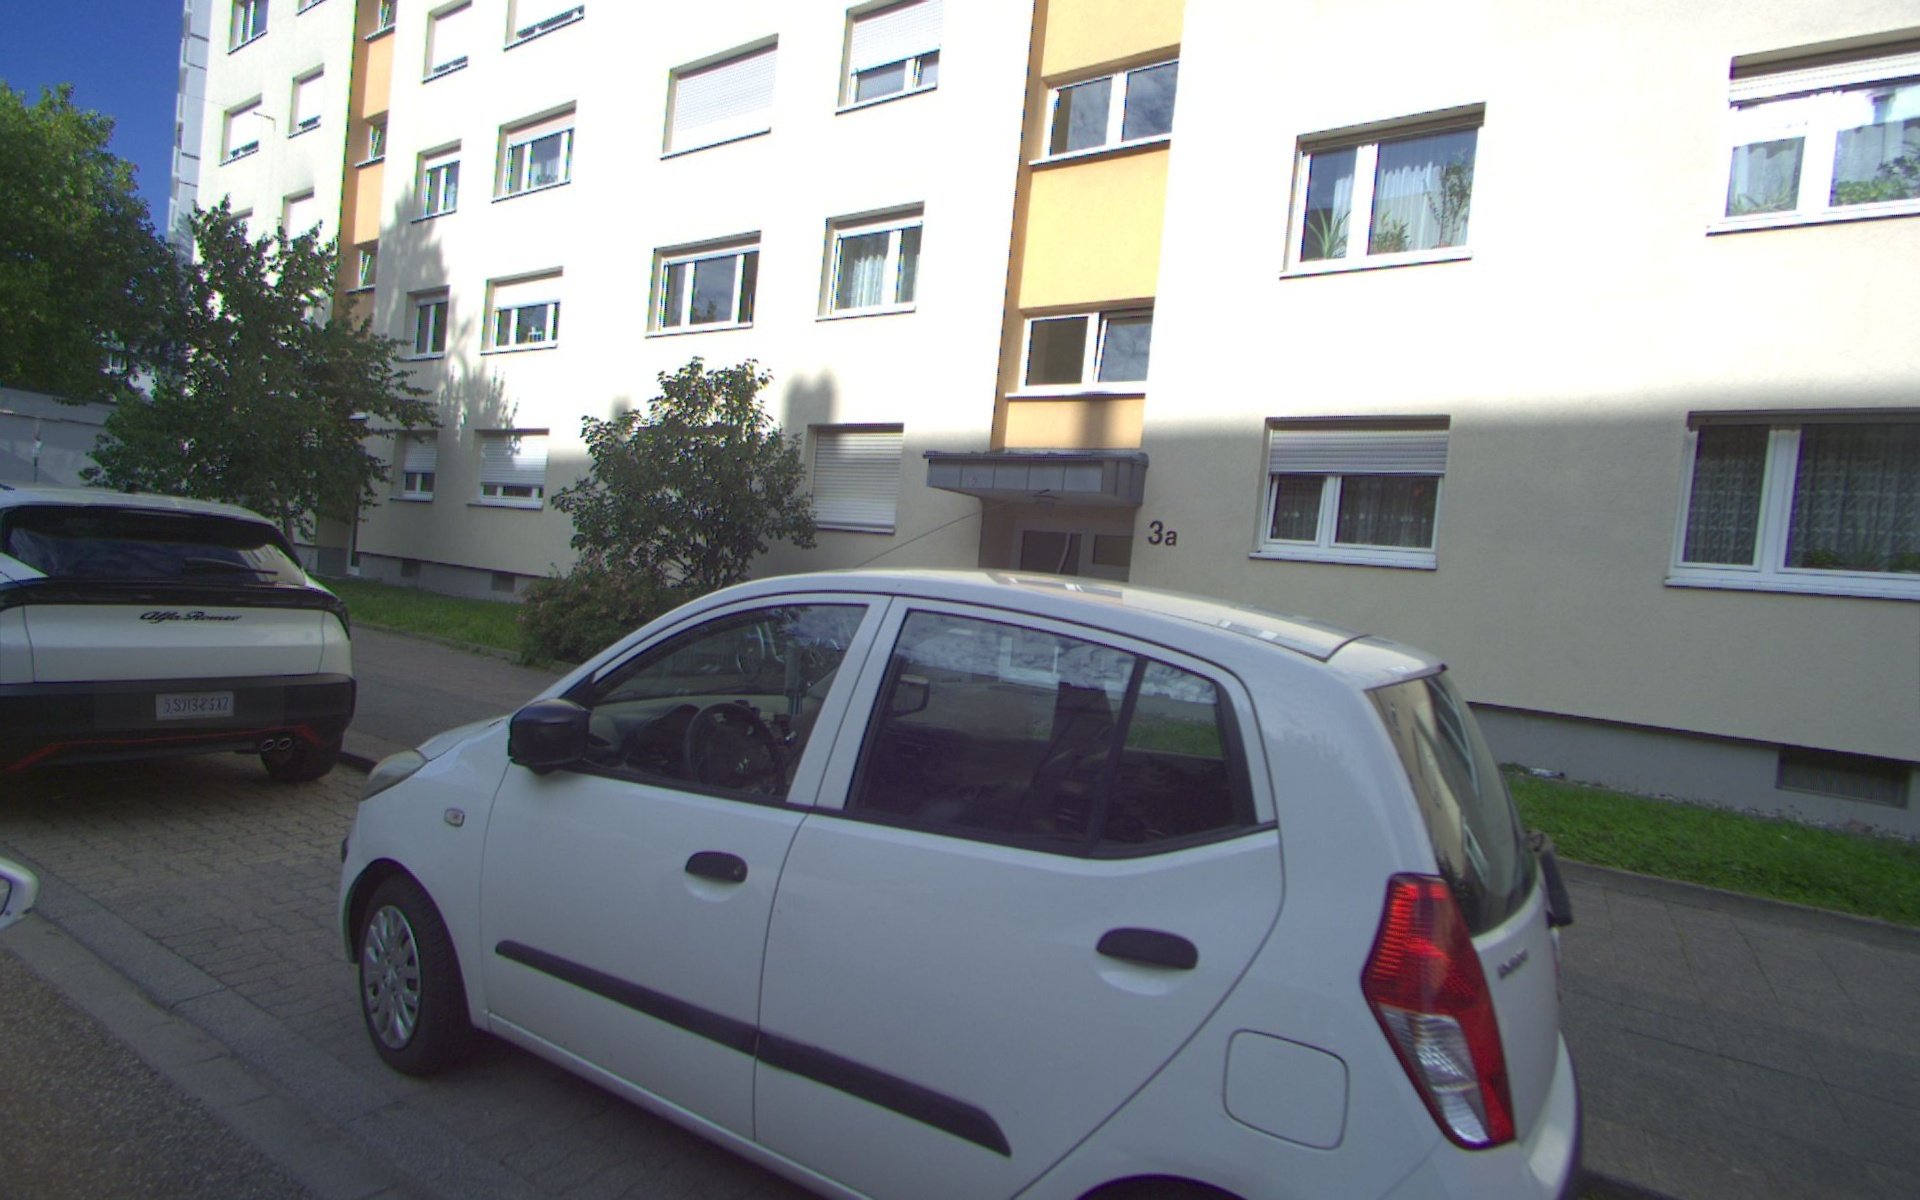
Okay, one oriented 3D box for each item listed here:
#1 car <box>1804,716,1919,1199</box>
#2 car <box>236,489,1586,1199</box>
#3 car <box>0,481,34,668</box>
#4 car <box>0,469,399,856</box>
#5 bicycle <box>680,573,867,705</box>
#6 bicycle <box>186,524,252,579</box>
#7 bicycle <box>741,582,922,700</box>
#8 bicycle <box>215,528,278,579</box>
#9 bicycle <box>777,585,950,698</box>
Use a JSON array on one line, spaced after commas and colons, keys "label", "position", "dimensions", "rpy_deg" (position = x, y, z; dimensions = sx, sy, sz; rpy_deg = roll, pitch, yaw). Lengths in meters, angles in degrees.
[{"label": "car", "position": [3.256, 1.117, 0.818], "dimensions": [3.612, 1.416, 1.516], "rpy_deg": [6, 2, 28]}, {"label": "car", "position": [-0.328, 0.629, 2.899], "dimensions": [3.409, 1.578, 1.551], "rpy_deg": [6, 3, 30]}, {"label": "car", "position": [-10.019, -0.425, 8.753], "dimensions": [4.166, 1.548, 1.691], "rpy_deg": [6, 2, 30]}, {"label": "car", "position": [-5.173, 0.100, 5.719], "dimensions": [4.169, 1.548, 1.690], "rpy_deg": [6, 1, 34]}, {"label": "bicycle", "position": [-2.128, 0.394, 11.300], "dimensions": [2.172, 1.204, 0.596], "rpy_deg": [6, 5, 32]}, {"label": "bicycle", "position": [-16.362, -1.078, 22.202], "dimensions": [1.526, 1.069, 0.522], "rpy_deg": [6, 1, 29]}, {"label": "bicycle", "position": [-1.554, 0.452, 11.909], "dimensions": [2.172, 1.130, 0.597], "rpy_deg": [6, 3, 32]}, {"label": "bicycle", "position": [-16.085, -1.052, 22.681], "dimensions": [1.526, 0.976, 0.478], "rpy_deg": [6, 1, 29]}, {"label": "bicycle", "position": [-1.227, 0.477, 12.437], "dimensions": [2.172, 1.130, 0.529], "rpy_deg": [6, 3, 32]}]
